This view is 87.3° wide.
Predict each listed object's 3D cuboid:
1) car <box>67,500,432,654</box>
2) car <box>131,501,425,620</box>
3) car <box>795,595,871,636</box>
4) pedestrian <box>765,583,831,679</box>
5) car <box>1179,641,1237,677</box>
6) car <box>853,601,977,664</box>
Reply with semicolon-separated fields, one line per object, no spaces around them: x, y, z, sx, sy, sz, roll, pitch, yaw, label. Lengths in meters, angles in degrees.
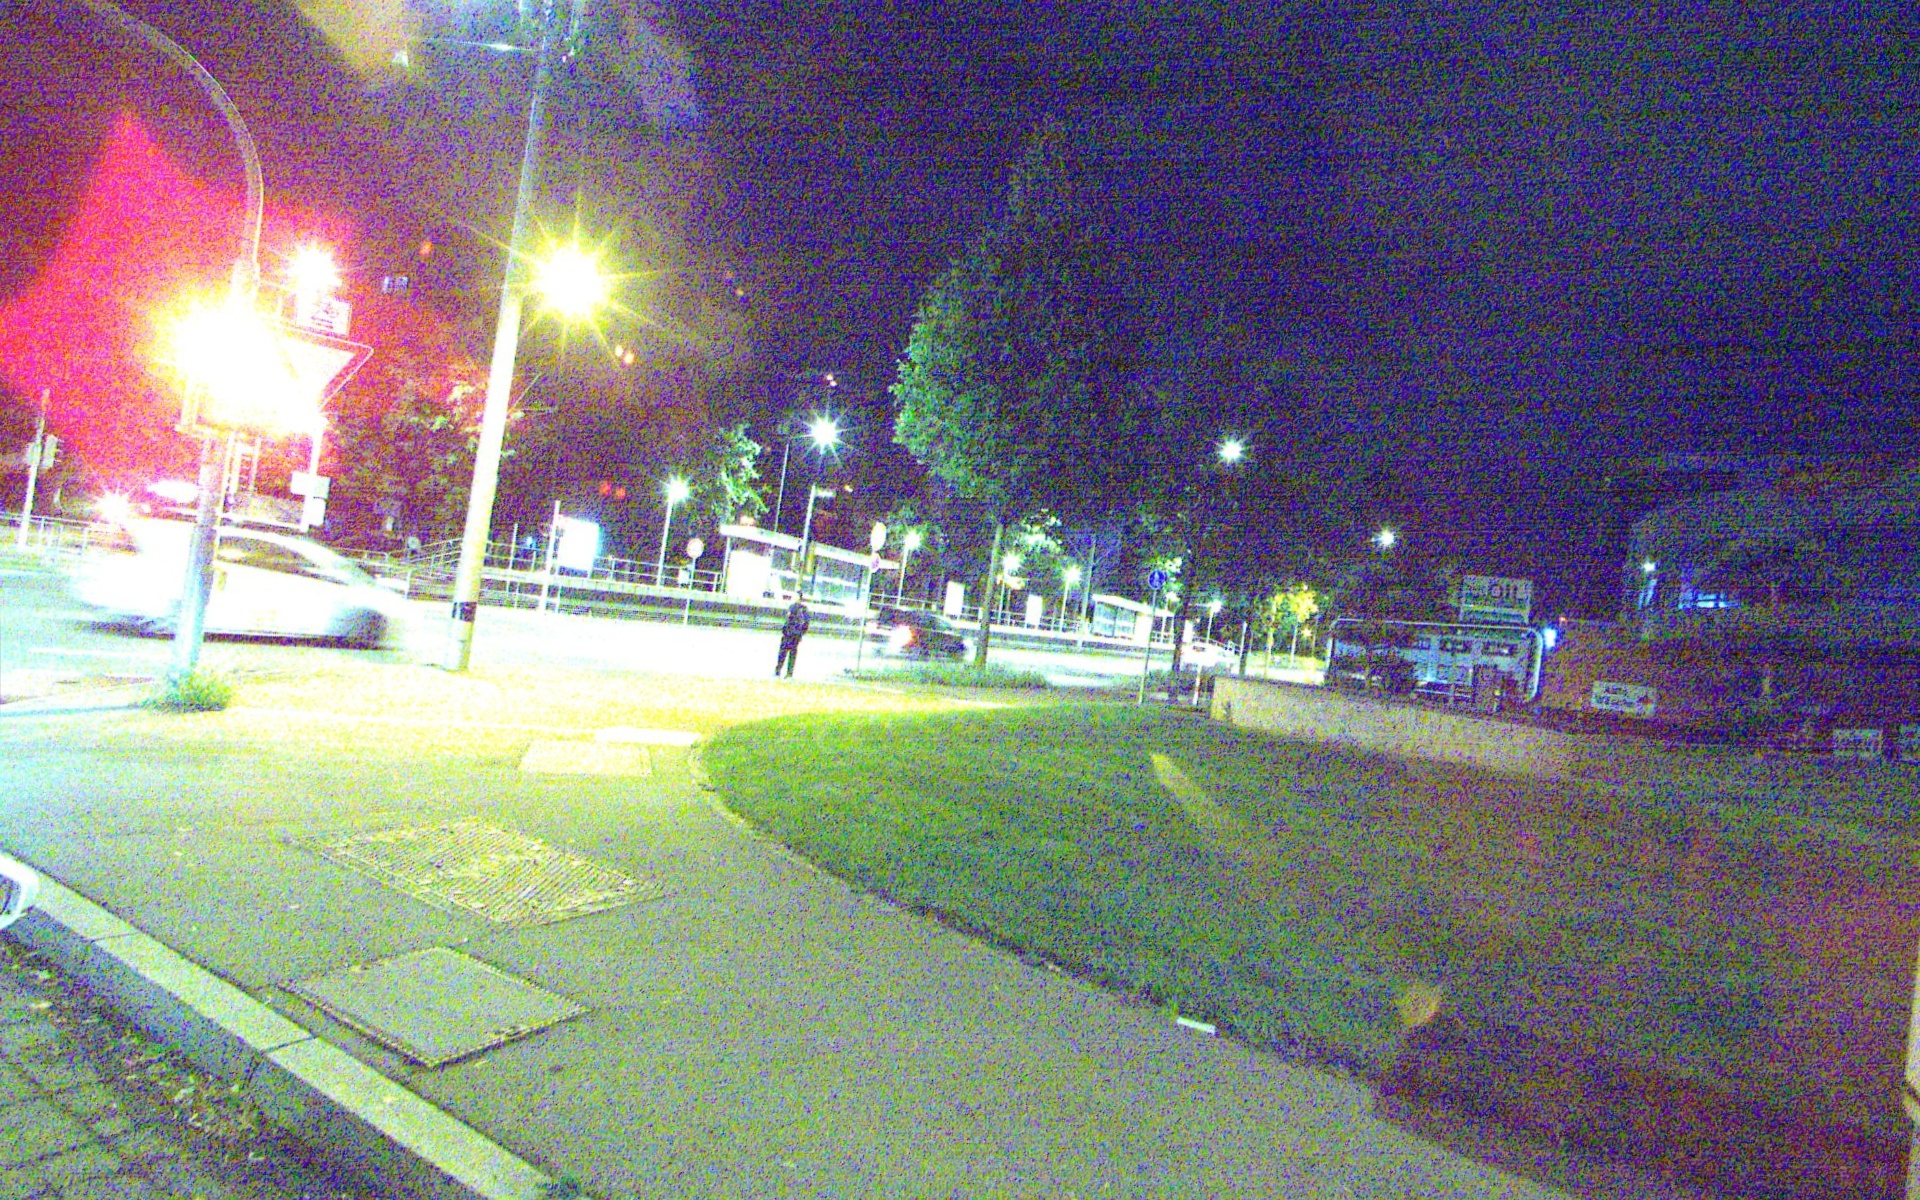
-10.458;-0.262;15.092;1.781;1.682;3.991;8;-1;35;car
-13.616;-0.720;20.363;1.834;1.679;4.449;9;0;35;car
-7.223;0.897;57.547;1.970;2.039;3.985;6;0;36;car
-3.160;0.615;19.618;0.820;1.766;0.755;5;0;31;pedestrian
14.434;3.431;58.353;1.844;1.703;4.288;9;0;32;car
-1.439;1.147;34.126;1.781;1.671;4.346;8;0;34;car
